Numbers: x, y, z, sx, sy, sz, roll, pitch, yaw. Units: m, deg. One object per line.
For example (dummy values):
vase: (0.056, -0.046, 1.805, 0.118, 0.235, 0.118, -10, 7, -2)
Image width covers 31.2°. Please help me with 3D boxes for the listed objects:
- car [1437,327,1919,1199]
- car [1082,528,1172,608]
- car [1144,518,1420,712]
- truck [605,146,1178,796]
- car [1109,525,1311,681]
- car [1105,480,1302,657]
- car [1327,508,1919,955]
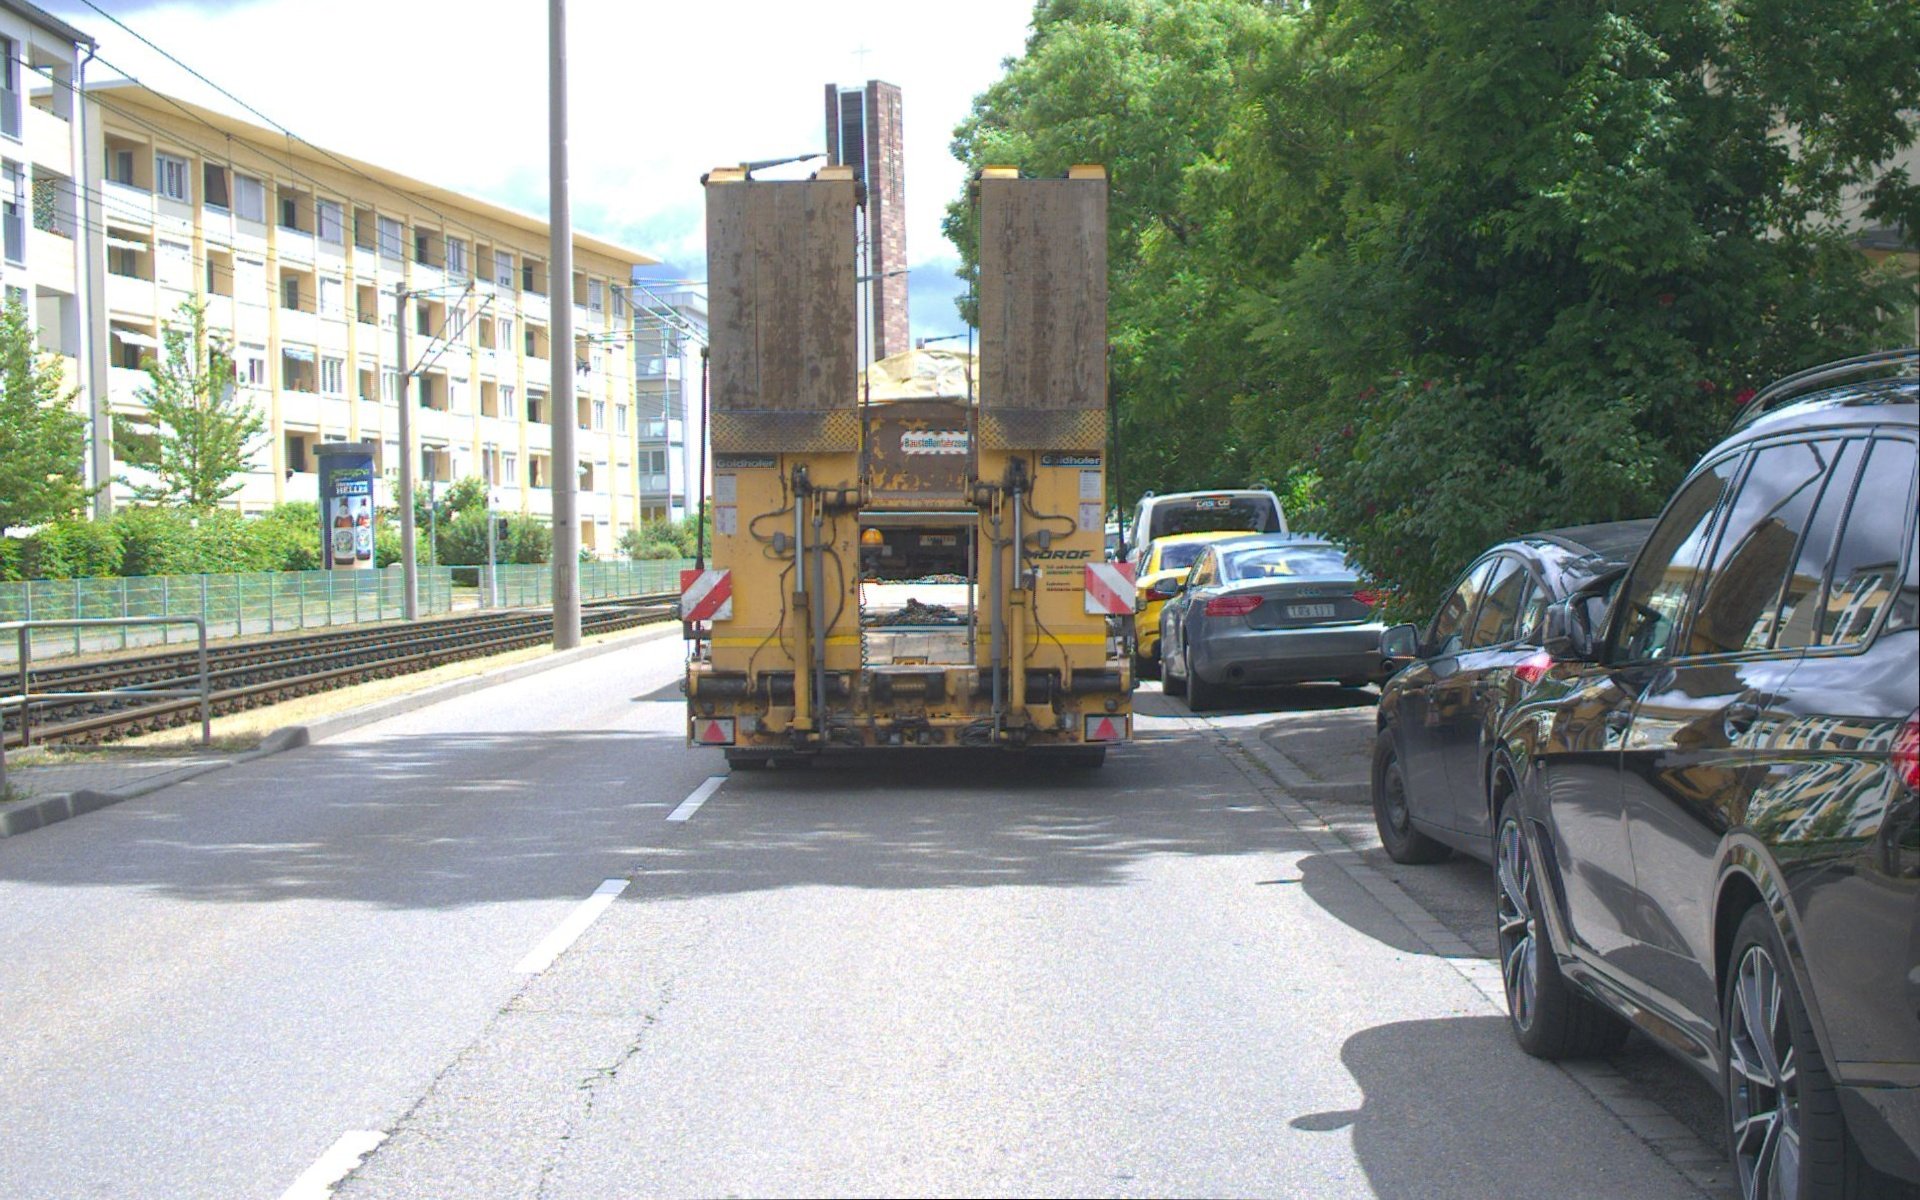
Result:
car: (2.449, 0.386, 7.949, 2.015, 1.782, 5.076, -2, 1, 1)
car: (3.730, -0.739, 76.301, 1.824, 1.676, 4.575, -2, 1, 4)
car: (2.613, 0.077, 28.843, 1.755, 1.437, 4.494, -2, 1, -1)
truck: (-0.428, -0.836, 25.271, 3.124, 3.552, 12.460, -1, 1, 0)
car: (2.516, -0.011, 35.494, 1.755, 1.437, 4.341, -3, 1, 1)
car: (2.893, -0.405, 41.989, 1.914, 1.952, 5.745, -2, 1, 0)
car: (2.708, 0.415, 14.037, 1.834, 1.500, 4.243, -2, 1, -1)
